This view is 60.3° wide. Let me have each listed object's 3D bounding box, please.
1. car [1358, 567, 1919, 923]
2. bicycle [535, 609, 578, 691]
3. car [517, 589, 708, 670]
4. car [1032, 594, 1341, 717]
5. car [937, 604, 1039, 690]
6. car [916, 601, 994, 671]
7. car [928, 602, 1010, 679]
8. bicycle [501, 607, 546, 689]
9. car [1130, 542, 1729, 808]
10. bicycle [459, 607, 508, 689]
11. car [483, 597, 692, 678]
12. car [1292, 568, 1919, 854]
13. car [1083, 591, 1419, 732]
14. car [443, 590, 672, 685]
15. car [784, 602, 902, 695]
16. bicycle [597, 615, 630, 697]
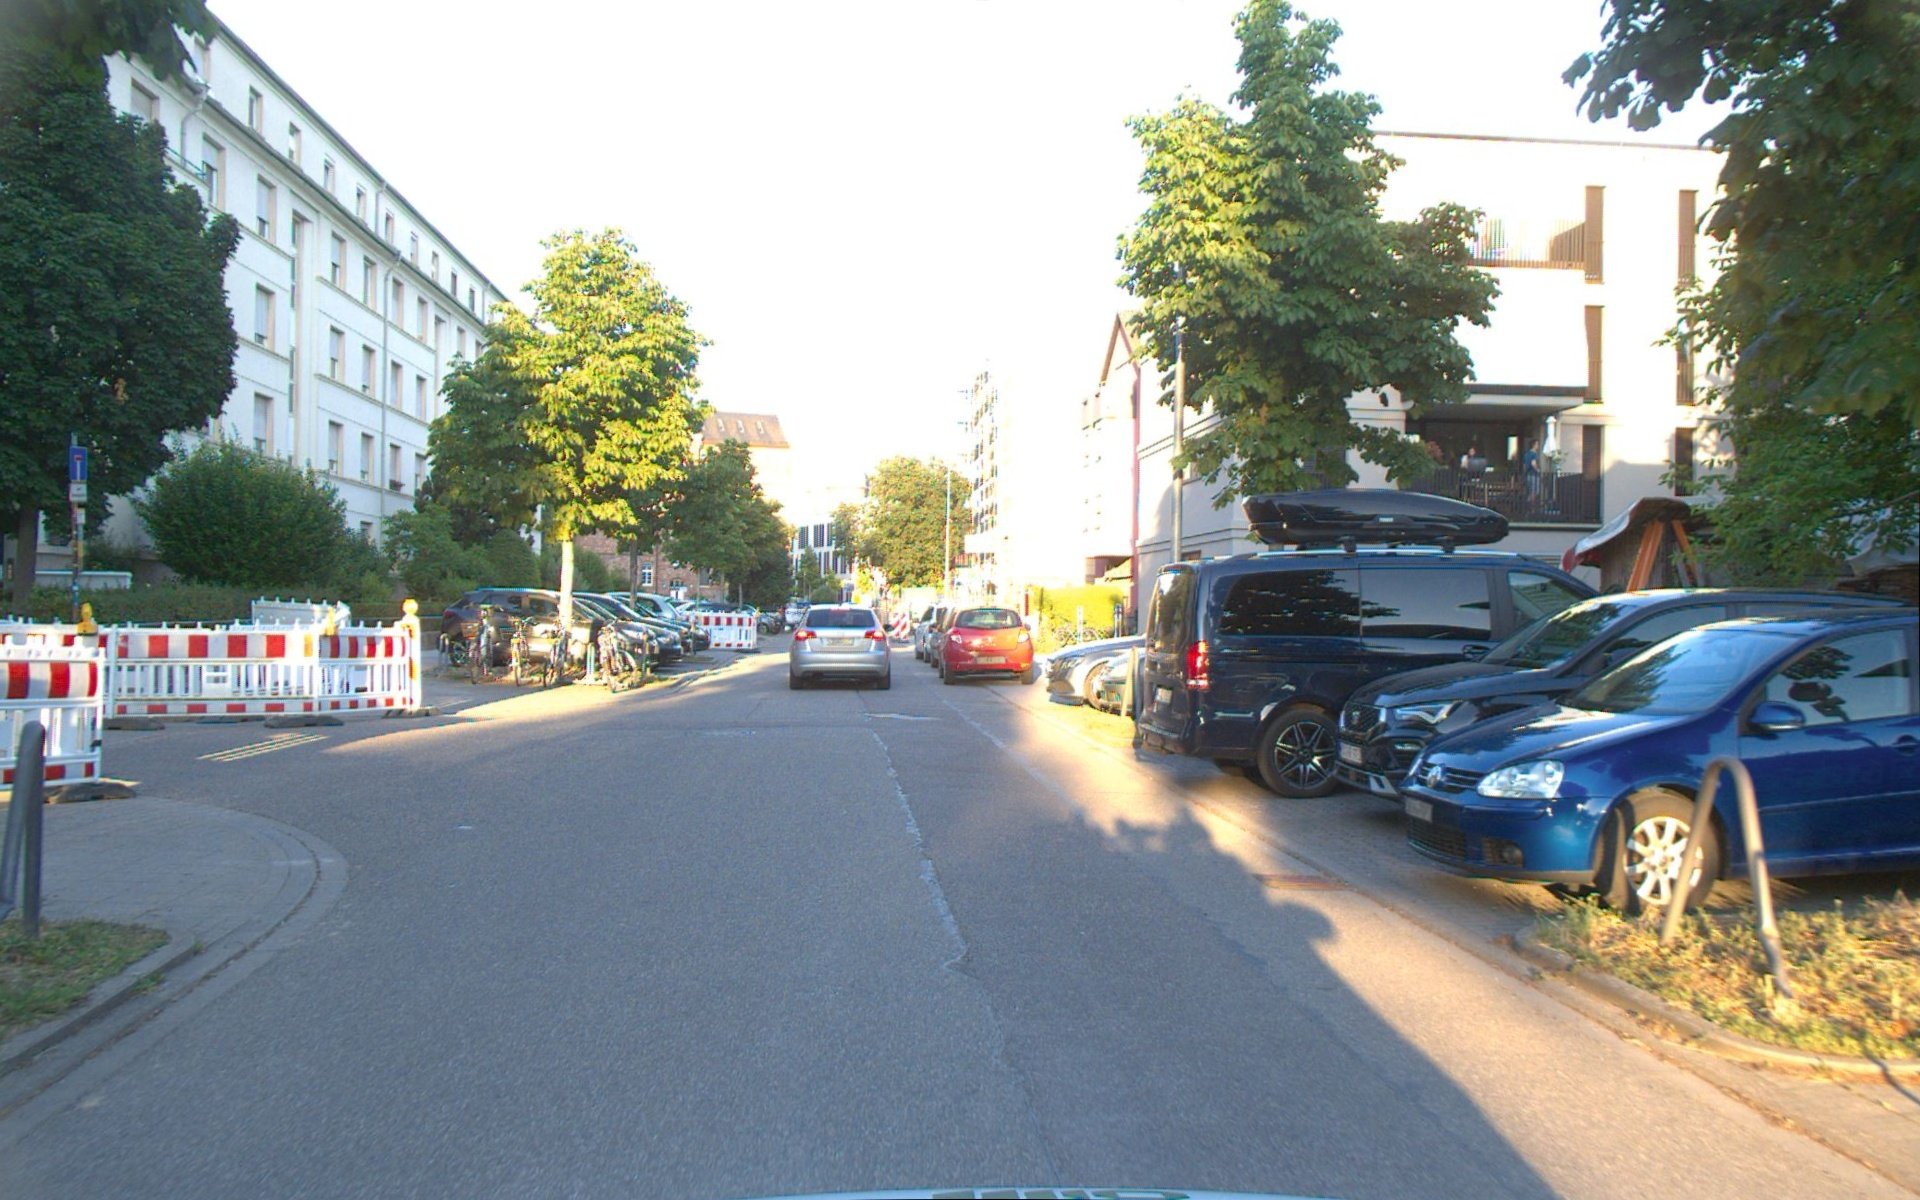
[{"bbox_3d":[4.376,0.729,9.002,3.913,1.680,1.761,1,0,-9],"label":"car"},{"bbox_3d":[-6.486,0.780,26.630,0.398,1.249,1.984,1,0,-7],"label":"bicycle"},{"bbox_3d":[-7.581,0.635,36.410,3.910,1.633,1.870,1,0,-6],"label":"car"},{"bbox_3d":[3.229,0.756,23.939,4.073,1.599,1.794,-1,0,-9],"label":"car"},{"bbox_3d":[0.479,0.863,31.780,1.695,1.509,3.555,1,0,-3],"label":"car"},{"bbox_3d":[-0.175,0.881,42.051,1.772,1.641,3.578,1,0,-3],"label":"car"},{"bbox_3d":[0.154,0.877,37.384,1.630,1.601,3.438,1,0,-3],"label":"car"},{"bbox_3d":[-7.010,0.742,26.616,0.398,1.249,1.984,1,0,-7],"label":"bicycle"},{"bbox_3d":[3.860,0.569,14.086,4.470,2.058,2.098,0,0,-7],"label":"car"},{"bbox_3d":[-7.654,0.748,26.612,0.398,1.249,1.984,1,0,-7],"label":"bicycle"},{"bbox_3d":[-7.516,0.746,33.749,3.910,1.506,1.997,1,0,-6],"label":"car"},{"bbox_3d":[4.536,0.716,11.630,3.910,1.799,1.997,1,0,-6],"label":"car"},{"bbox_3d":[3.716,0.771,21.514,3.867,1.678,1.972,1,0,-9],"label":"car"},{"bbox_3d":[-7.504,0.691,31.187,3.910,1.654,1.997,1,0,-6],"label":"car"},{"bbox_3d":[-2.129,0.810,29.114,1.774,1.514,3.992,0,-1,-9],"label":"car"},{"bbox_3d":[-5.577,0.879,26.687,0.398,1.249,1.983,1,0,-9],"label":"bicycle"}]
